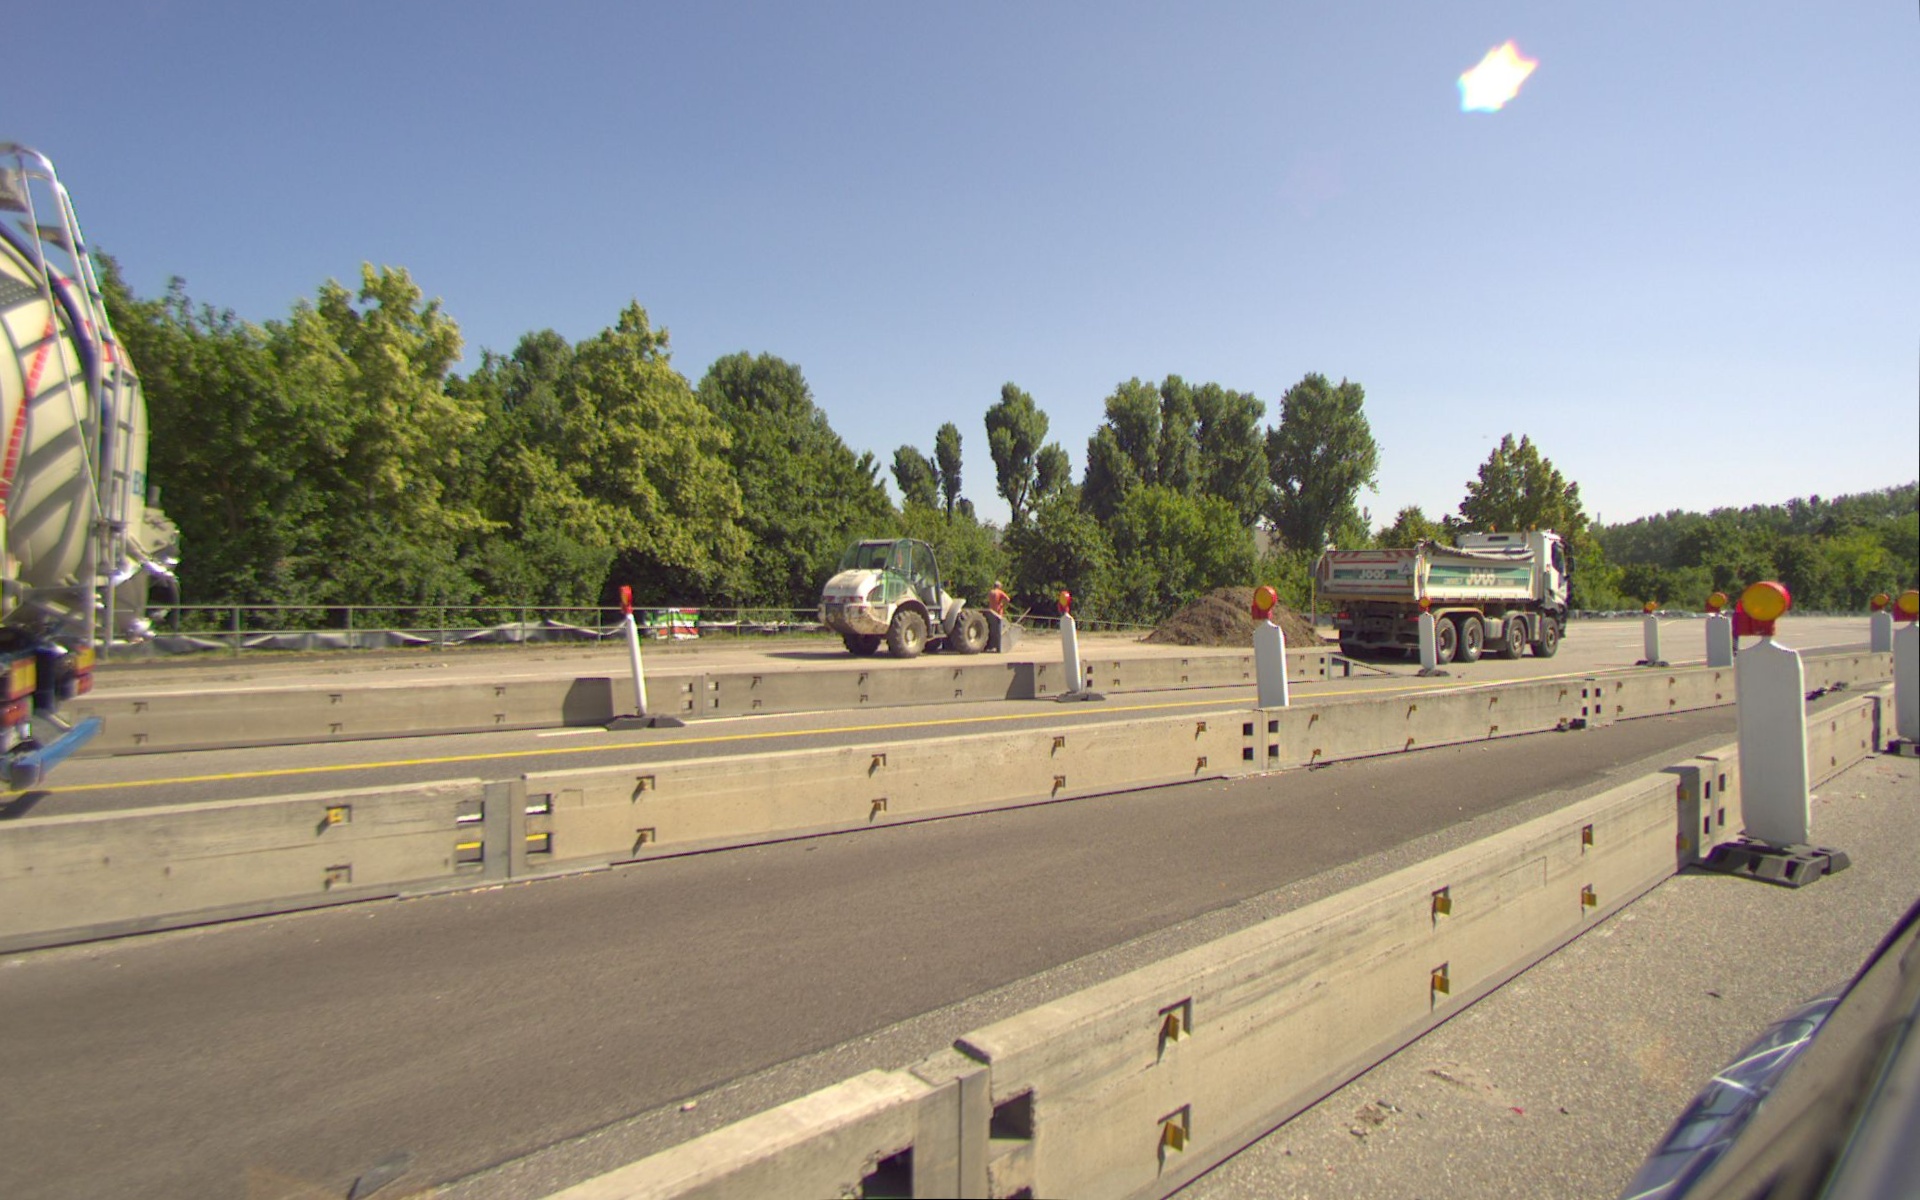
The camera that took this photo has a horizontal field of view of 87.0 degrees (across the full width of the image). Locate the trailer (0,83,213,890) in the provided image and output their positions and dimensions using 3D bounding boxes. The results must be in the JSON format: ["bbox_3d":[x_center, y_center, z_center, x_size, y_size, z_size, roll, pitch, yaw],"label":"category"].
[{"bbox_3d":[-10.225,-0.593,3.325,12.372,4.189,2.704,0,1,-34],"label":"trailer"}]

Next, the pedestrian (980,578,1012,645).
[{"bbox_3d":[0.959,0.296,26.792,0.664,1.770,0.523,0,0,45],"label":"pedestrian"}]

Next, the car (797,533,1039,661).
[{"bbox_3d":[-0.820,-0.111,23.864,2.105,2.675,5.890,1,1,44],"label":"car"}]

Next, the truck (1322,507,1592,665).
[{"bbox_3d":[12.900,-0.366,25.862,8.573,3.475,2.607,0,1,-37],"label":"truck"}]
